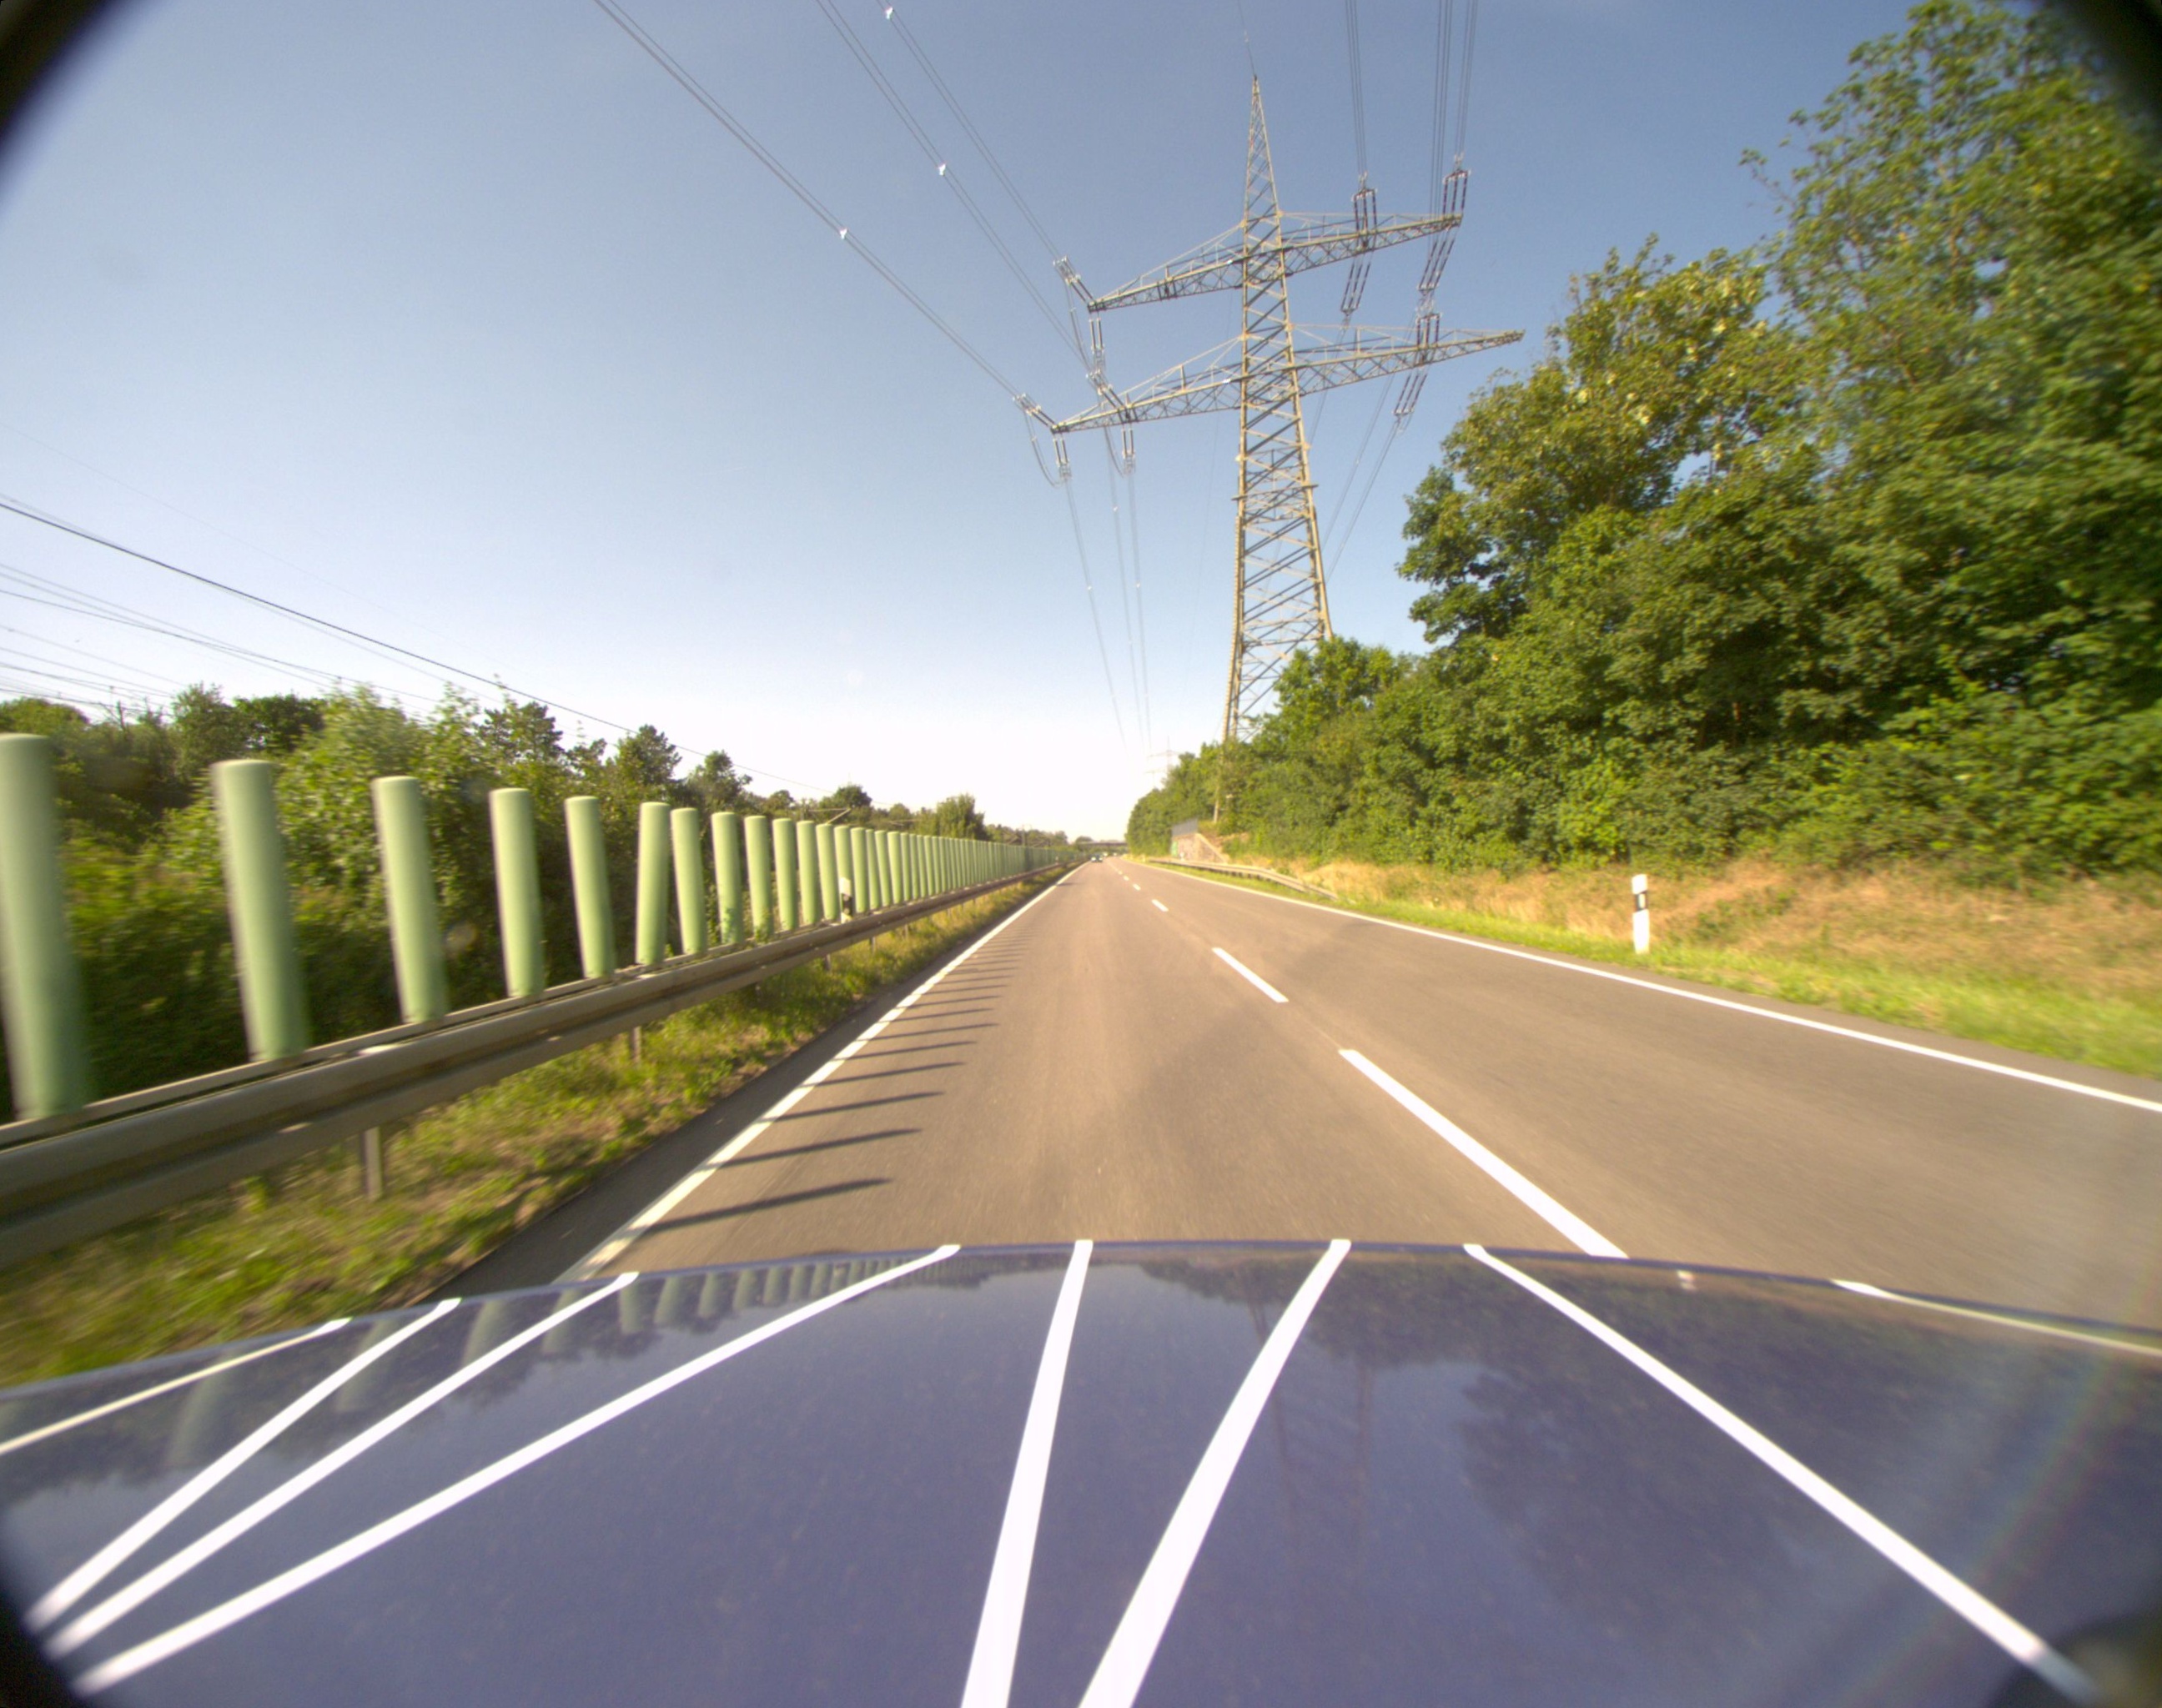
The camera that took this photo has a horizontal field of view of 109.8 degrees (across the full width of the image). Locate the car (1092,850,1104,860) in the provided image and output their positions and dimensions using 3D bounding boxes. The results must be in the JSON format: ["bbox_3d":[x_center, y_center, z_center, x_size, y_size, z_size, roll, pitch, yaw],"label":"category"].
[{"bbox_3d":[2.905,0.193,129.971,1.786,1.550,4.001,-1,0,5],"label":"car"}]
